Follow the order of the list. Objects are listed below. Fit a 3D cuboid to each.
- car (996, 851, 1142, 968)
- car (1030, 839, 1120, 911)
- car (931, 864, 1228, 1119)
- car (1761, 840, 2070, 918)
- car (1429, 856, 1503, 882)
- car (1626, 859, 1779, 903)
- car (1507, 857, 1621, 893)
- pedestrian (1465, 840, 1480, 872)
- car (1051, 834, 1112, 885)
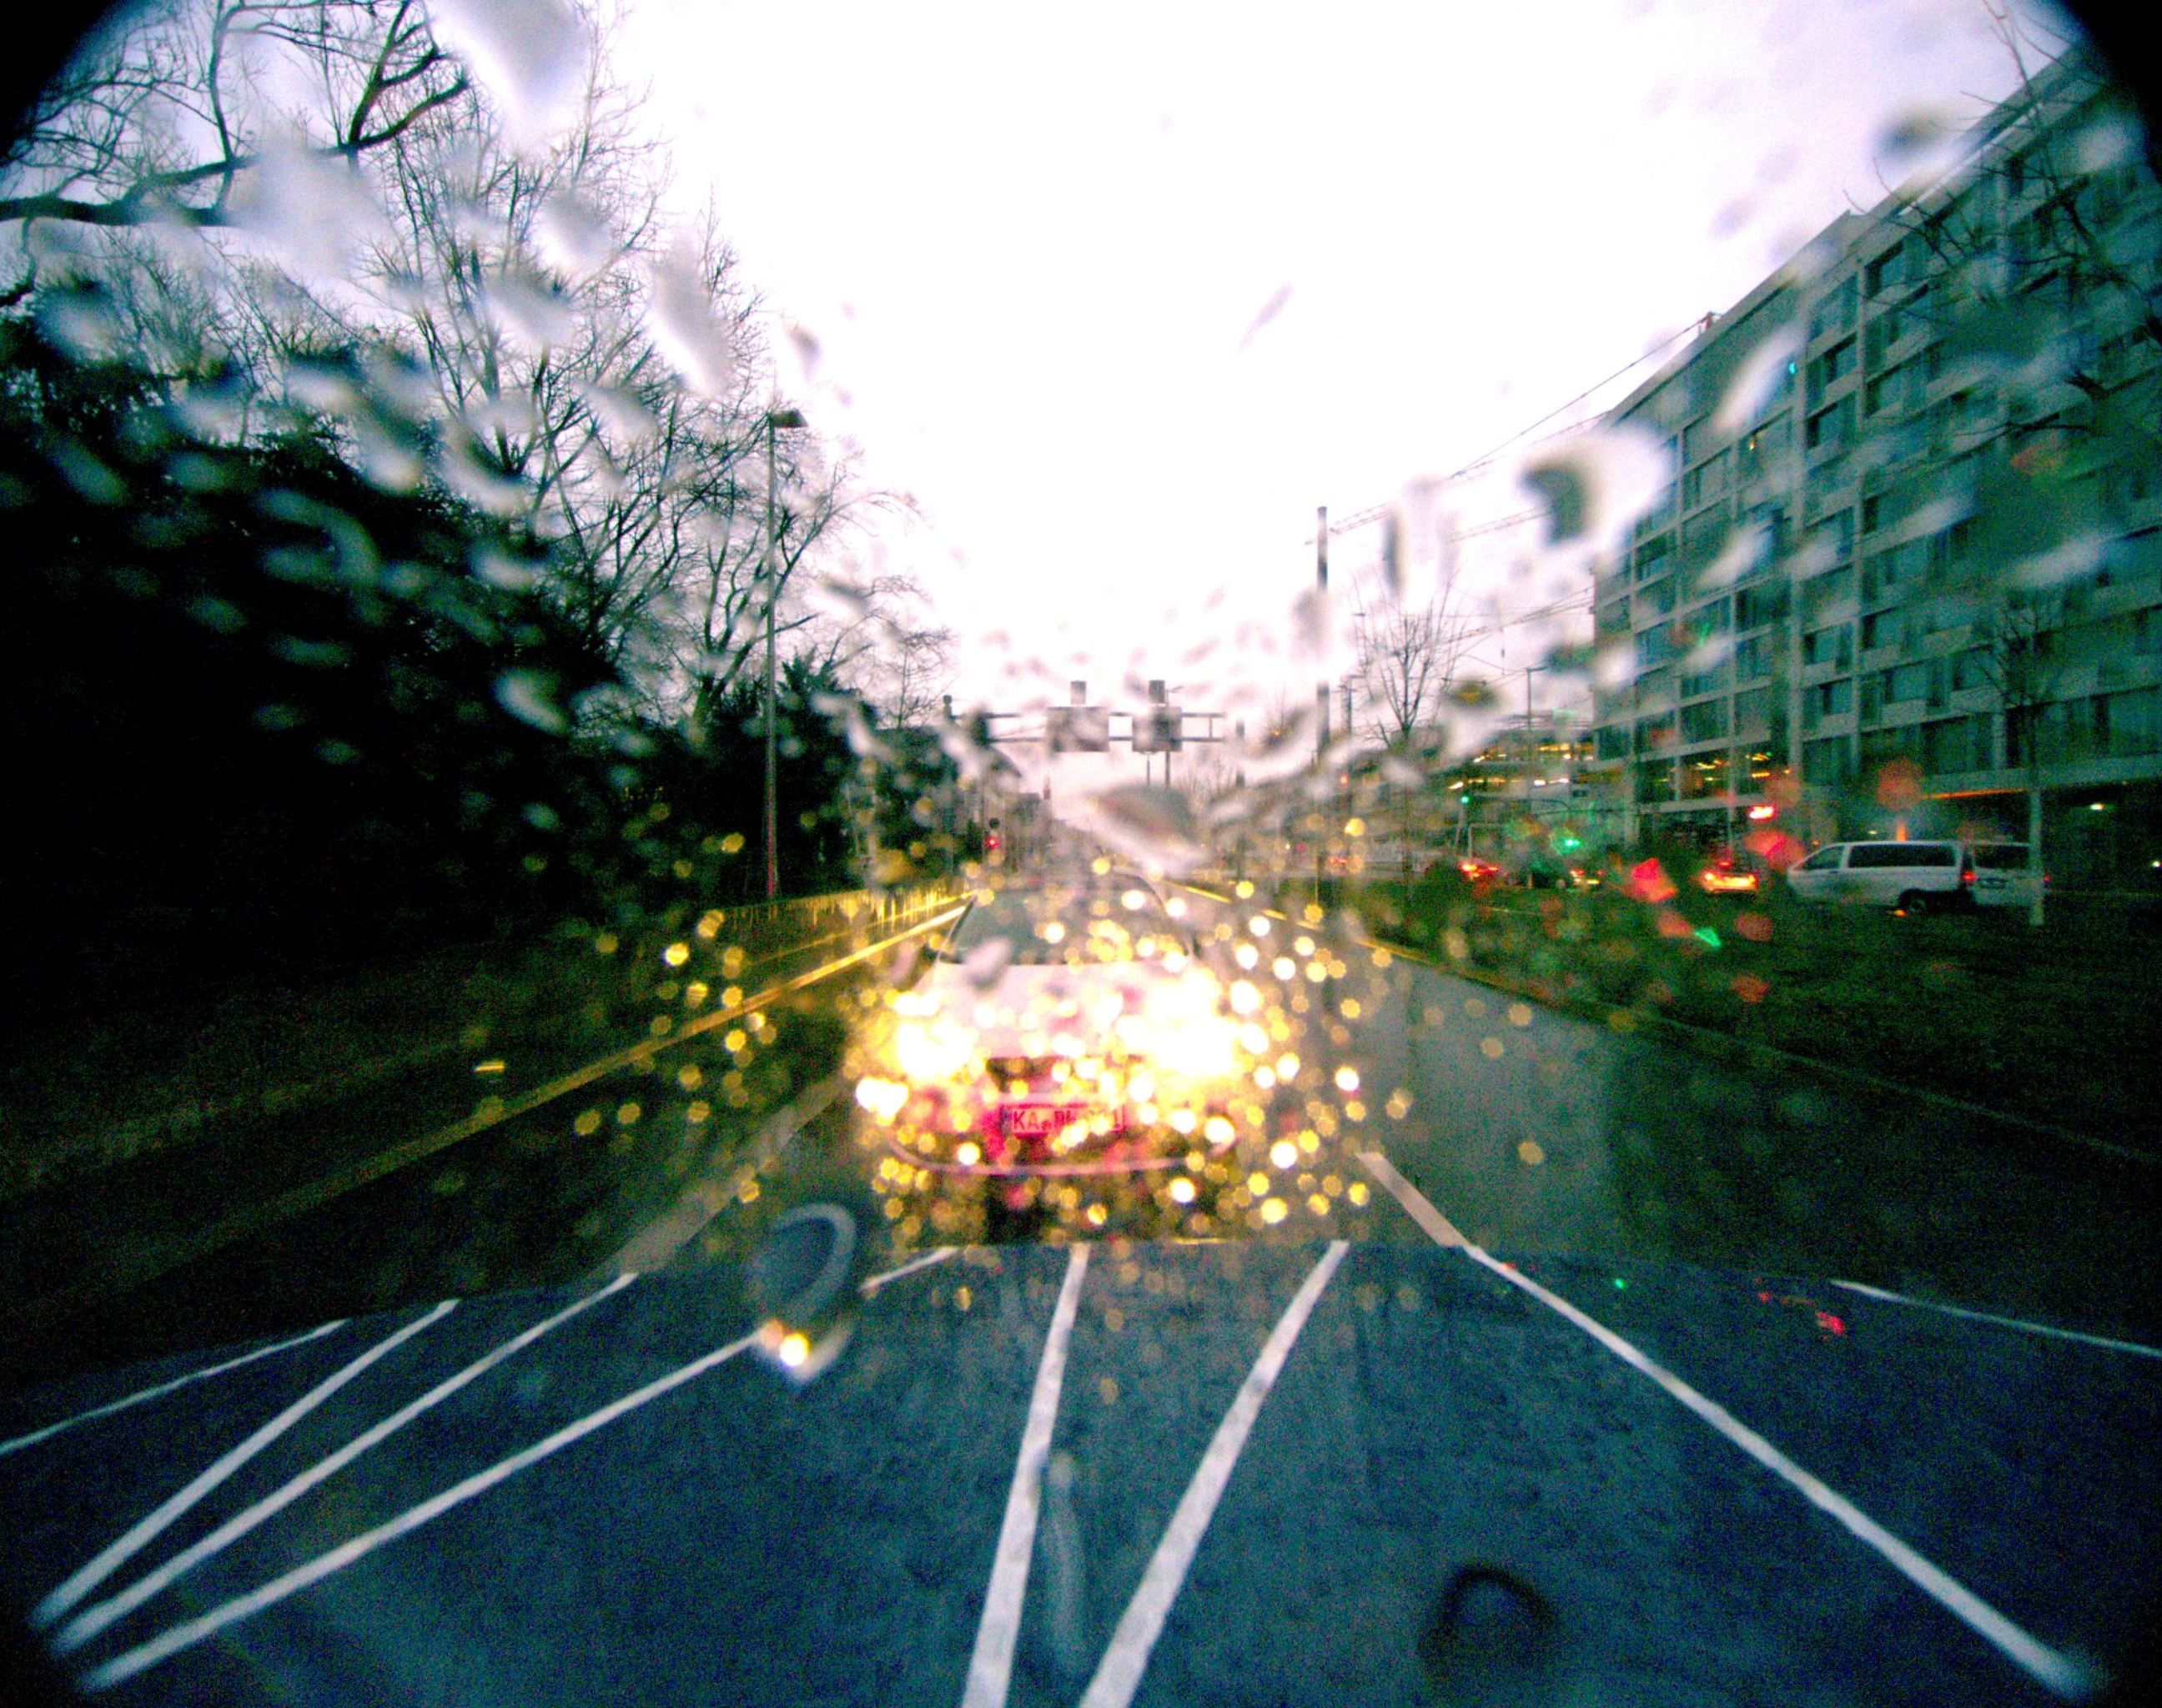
[{"bbox_3d":[-0.222,0.805,13.274,2.073,1.618,4.267,-2,1,-1],"label":"car"},{"bbox_3d":[-0.109,0.481,20.055,2.073,1.618,4.268,-2,1,1],"label":"car"},{"bbox_3d":[0.017,0.902,6.910,1.886,1.552,4.171,0,0,1],"label":"car"},{"bbox_3d":[20.006,0.535,18.684,2.086,1.659,5.043,0,0,1],"label":"car"},{"bbox_3d":[20.175,0.764,40.007,1.816,1.267,3.999,0,0,-1],"label":"car"},{"bbox_3d":[20.374,0.827,25.141,1.816,1.300,4.000,0,0,1],"label":"car"},{"bbox_3d":[20.300,0.823,32.203,2.111,1.392,4.257,0,0,-1],"label":"car"},{"bbox_3d":[22.391,0.132,43.474,0.708,1.794,0.771,-2,1,30],"label":"pedestrian"},{"bbox_3d":[0.030,0.173,27.507,1.998,1.618,4.268,-2,0,0],"label":"car"}]
